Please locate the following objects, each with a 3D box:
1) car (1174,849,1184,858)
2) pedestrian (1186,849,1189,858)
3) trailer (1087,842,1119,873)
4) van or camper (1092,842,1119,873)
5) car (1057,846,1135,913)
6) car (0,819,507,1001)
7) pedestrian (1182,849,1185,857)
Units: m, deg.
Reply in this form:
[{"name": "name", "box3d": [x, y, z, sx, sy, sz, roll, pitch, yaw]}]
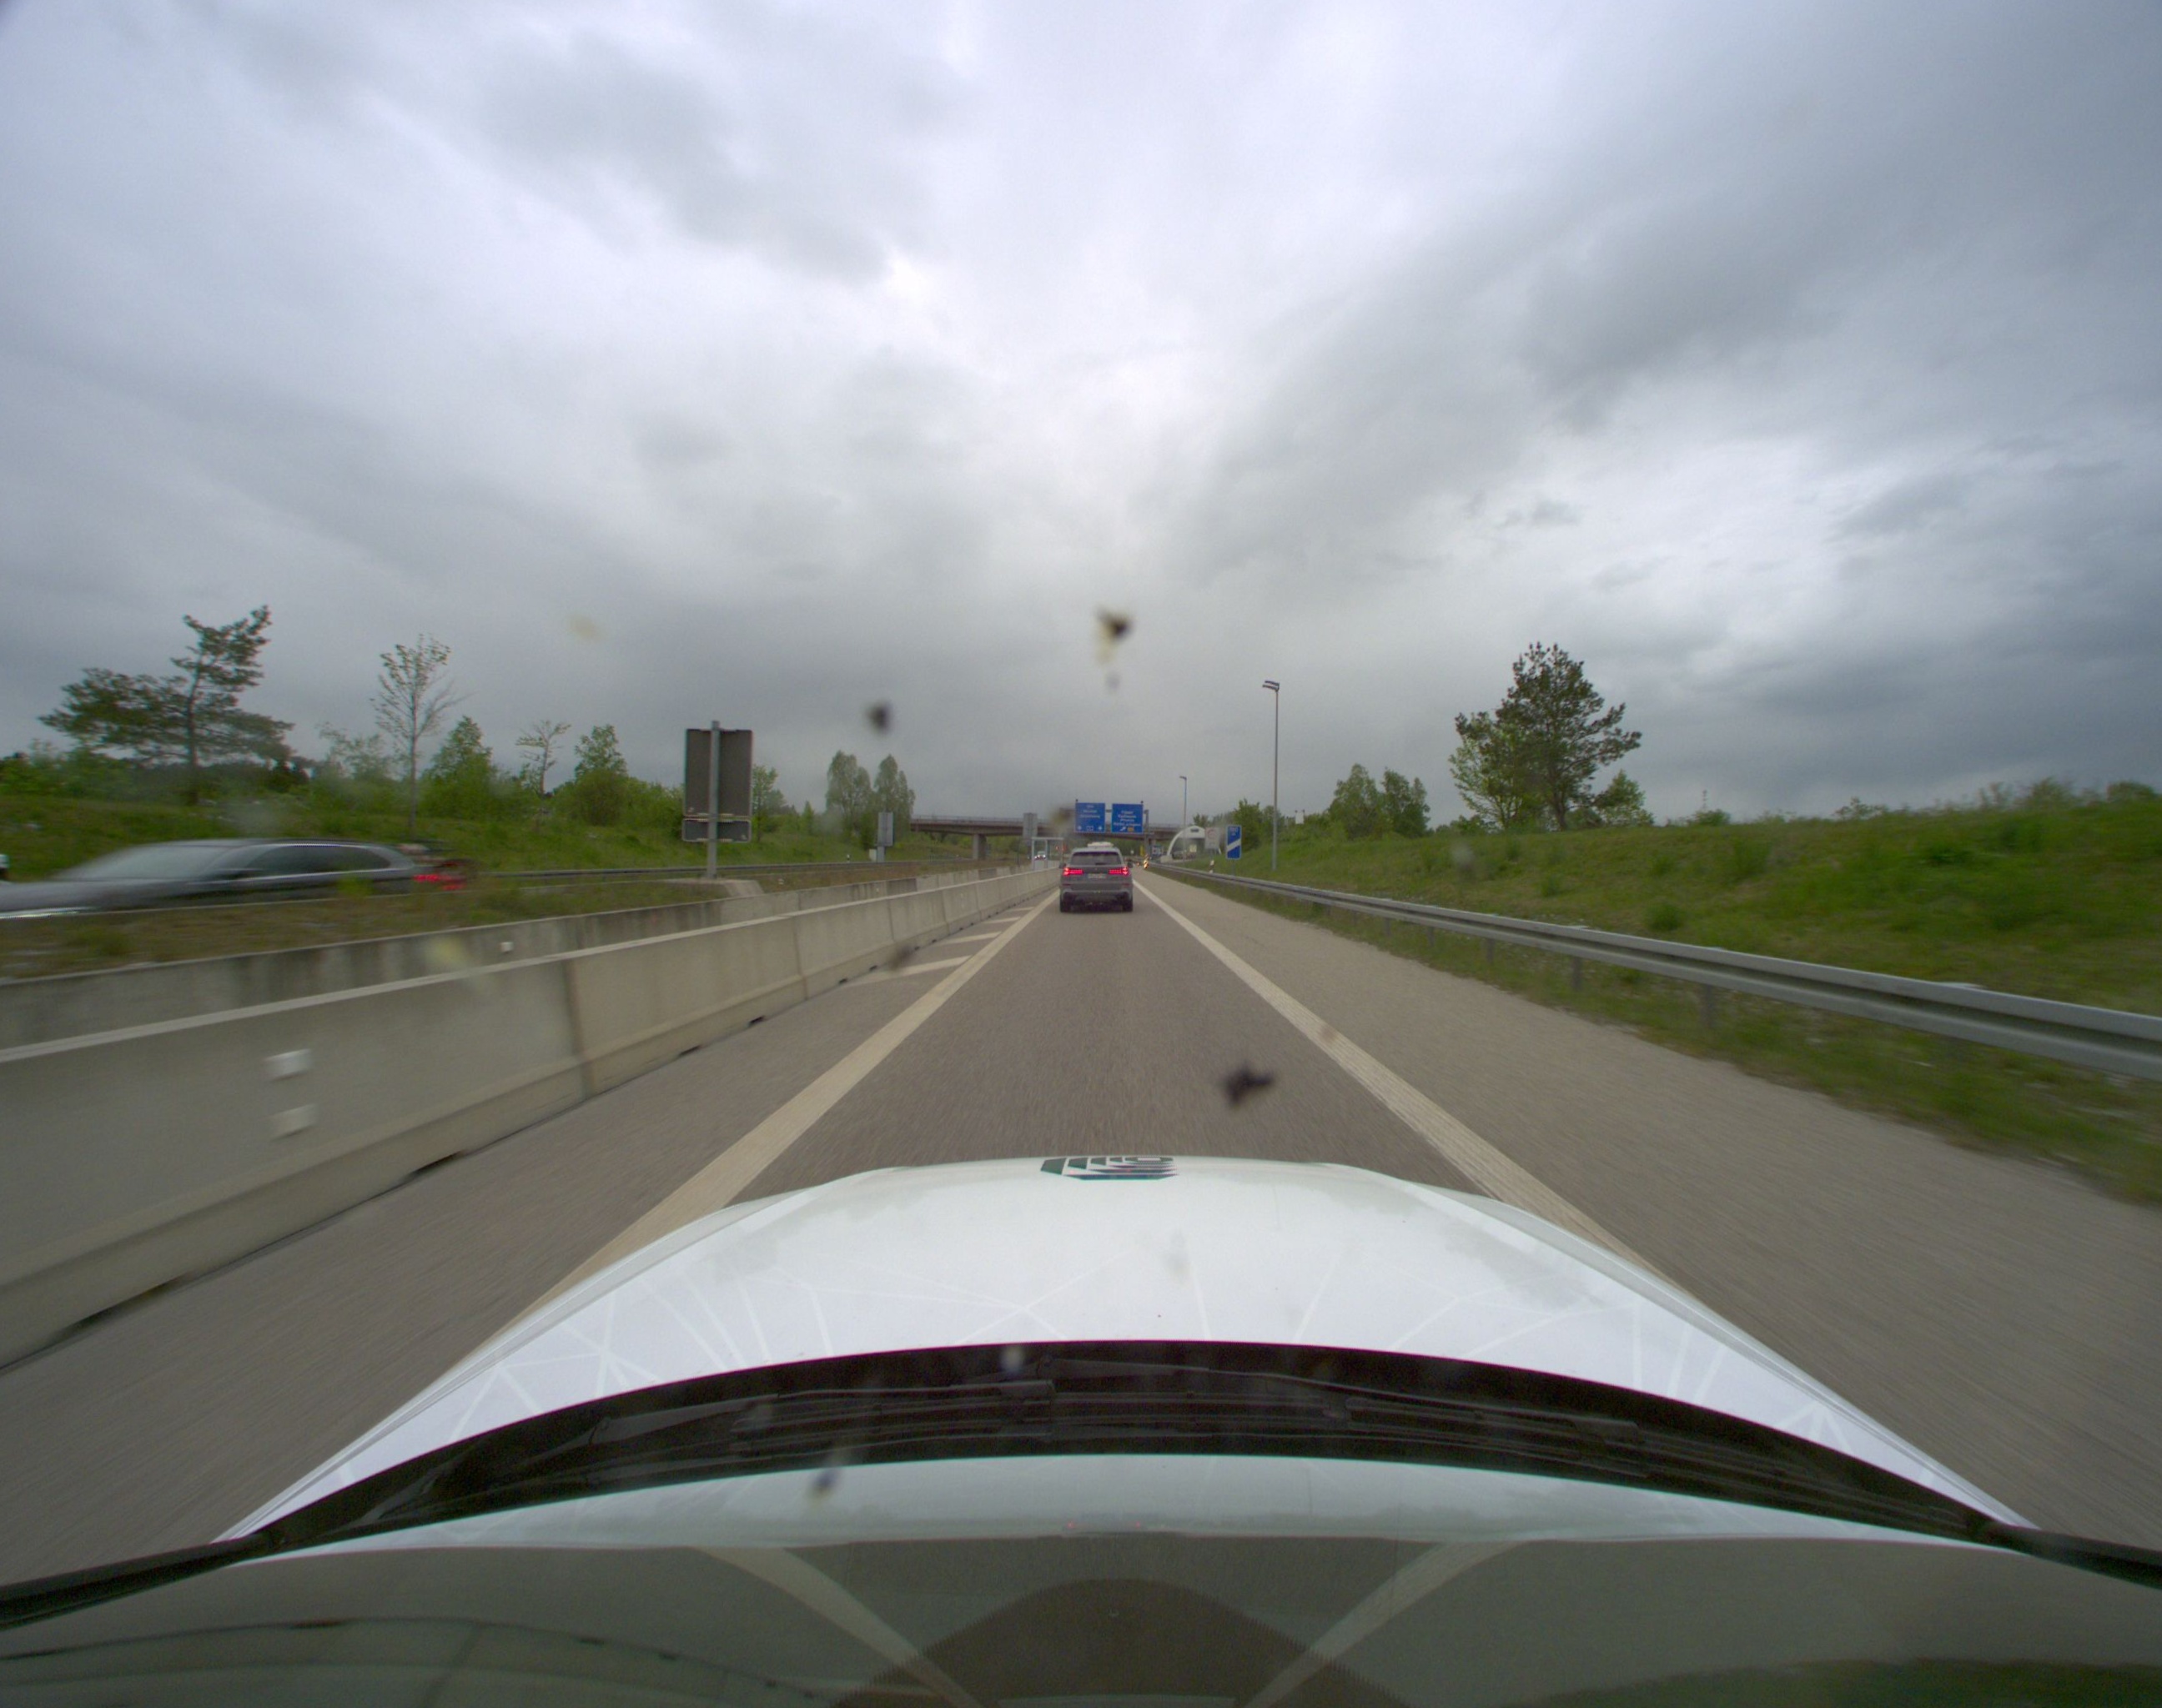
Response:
[{"name": "car", "box3d": [20.764, -0.152, 173.309, 1.984, 1.772, 3.771, -1, 0, 5]}, {"name": "pedestrian", "box3d": [23.053, -0.130, 176.492, 0.645, 1.775, 0.606, -1, 0, 4]}, {"name": "trailer", "box3d": [1.926, 0.311, 69.211, 2.268, 2.430, 6.827, 0, -1, 5]}, {"name": "van or camper", "box3d": [2.346, 0.366, 75.558, 2.146, 2.763, 5.879, 0, -1, 5]}, {"name": "car", "box3d": [0.450, 0.660, 23.024, 1.986, 1.719, 4.001, 0, 0, 2]}, {"name": "car", "box3d": [-10.548, 0.530, 10.654, 1.871, 1.736, 5.752, 1, 0, 1]}, {"name": "pedestrian", "box3d": [22.093, -0.161, 175.492, 0.716, 1.775, 0.691, -1, 0, 6]}]
